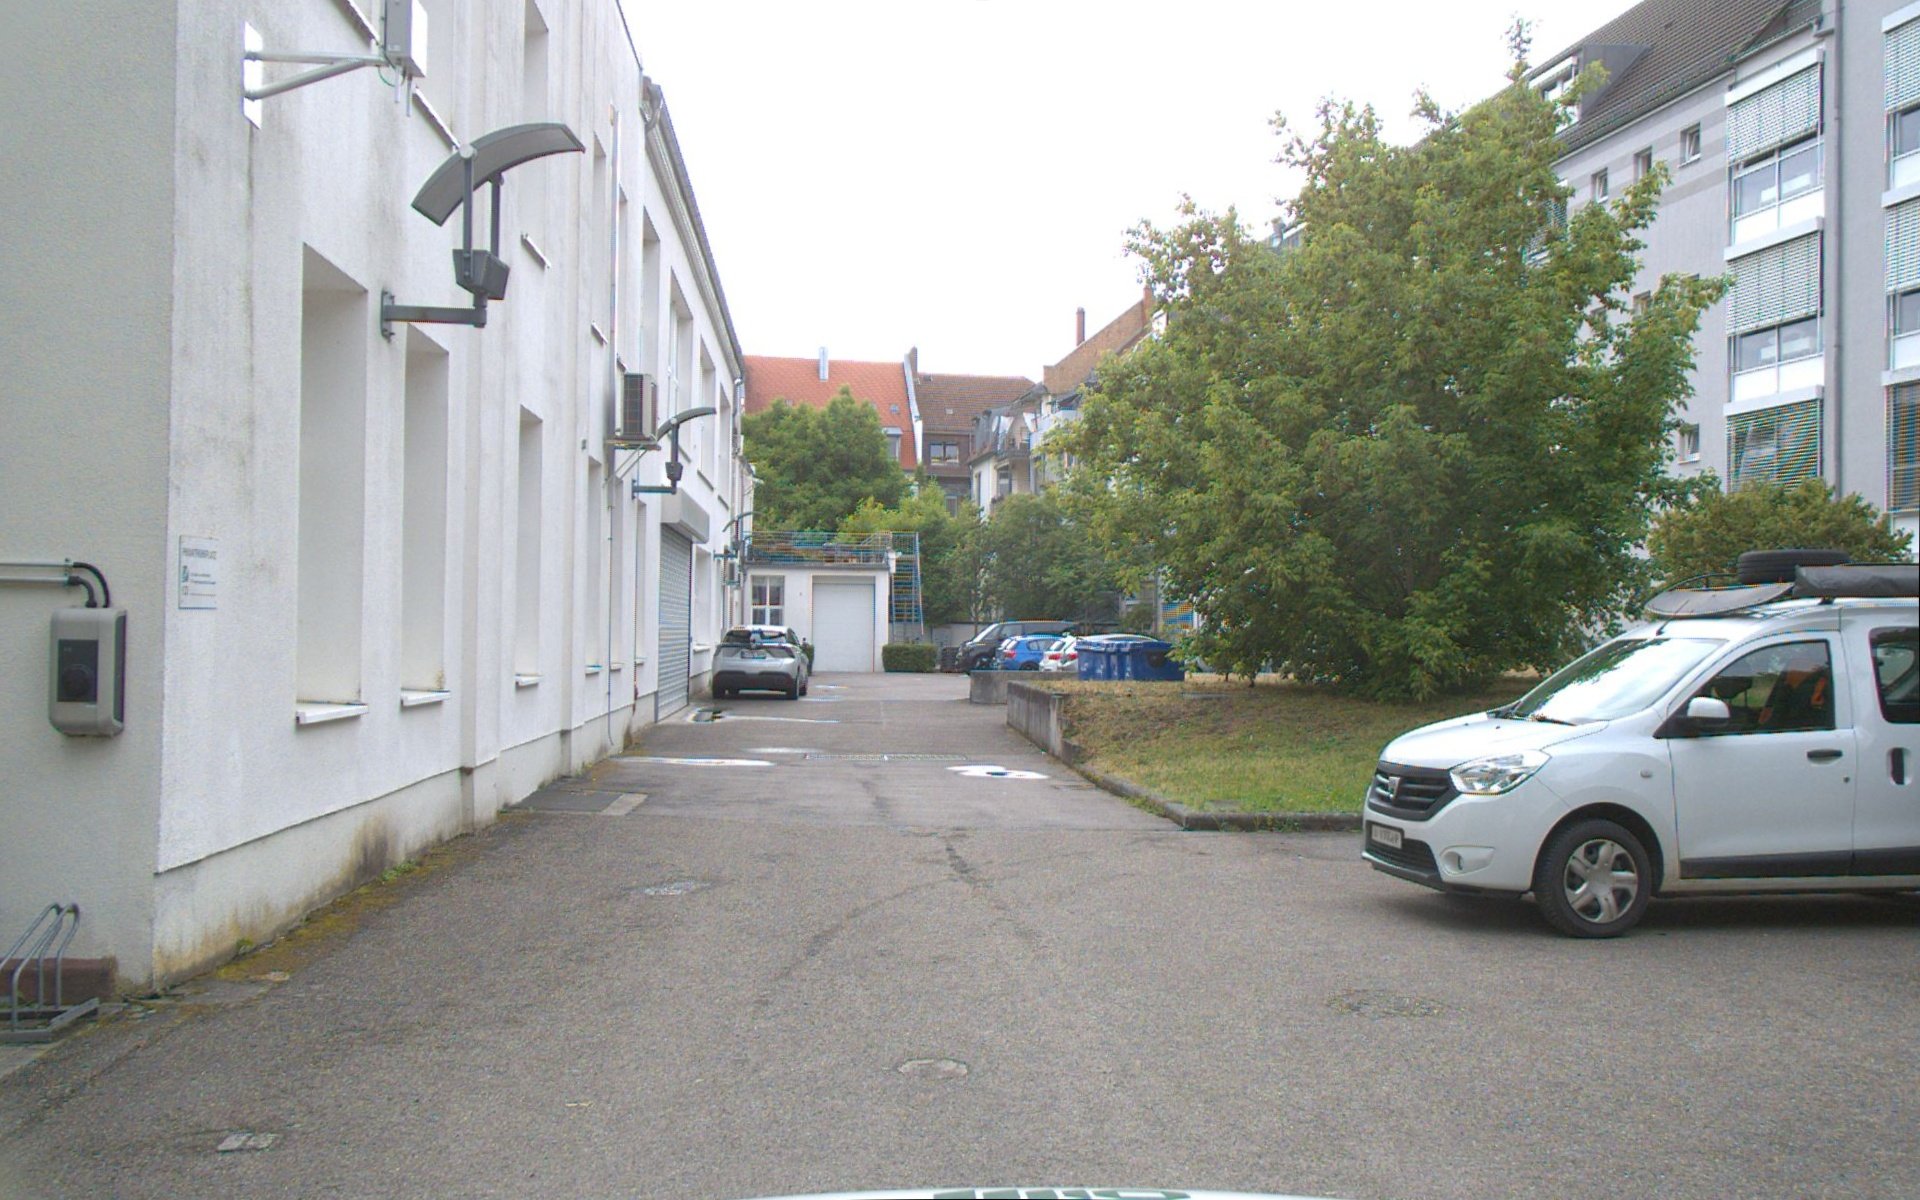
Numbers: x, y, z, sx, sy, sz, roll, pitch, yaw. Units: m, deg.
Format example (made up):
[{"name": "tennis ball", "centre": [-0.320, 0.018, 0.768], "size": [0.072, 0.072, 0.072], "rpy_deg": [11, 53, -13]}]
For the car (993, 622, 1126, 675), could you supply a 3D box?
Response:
[{"name": "car", "centre": [3.155, 1.543, 52.693], "size": [3.922, 1.601, 1.578], "rpy_deg": [1, -1, -16]}]

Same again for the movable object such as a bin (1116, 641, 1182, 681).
[{"name": "movable object such as a bin", "centre": [3.166, 1.021, 27.724], "size": [0.946, 0.648, 0.910], "rpy_deg": [1, -2, -4]}]

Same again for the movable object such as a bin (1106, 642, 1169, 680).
[{"name": "movable object such as a bin", "centre": [3.097, 1.064, 28.969], "size": [0.946, 0.648, 0.910], "rpy_deg": [1, -2, -4]}]

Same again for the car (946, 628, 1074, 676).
[{"name": "car", "centre": [1.740, 1.821, 58.351], "size": [4.114, 1.601, 1.991], "rpy_deg": [1, -1, -16]}]

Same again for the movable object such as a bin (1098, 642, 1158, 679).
[{"name": "movable object such as a bin", "centre": [3.067, 1.106, 30.214], "size": [0.946, 0.648, 0.910], "rpy_deg": [1, -2, -4]}]

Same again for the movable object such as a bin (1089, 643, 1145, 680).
[{"name": "movable object such as a bin", "centre": [2.955, 1.161, 31.206], "size": [0.946, 0.691, 0.810], "rpy_deg": [1, -2, -4]}]

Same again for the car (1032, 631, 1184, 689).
[{"name": "car", "centre": [4.252, 1.731, 47.752], "size": [3.922, 1.601, 1.991], "rpy_deg": [1, -1, -16]}]

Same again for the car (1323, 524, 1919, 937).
[{"name": "car", "centre": [4.454, 0.714, 9.514], "size": [4.258, 2.049, 1.850], "rpy_deg": [1, -2, -10]}]

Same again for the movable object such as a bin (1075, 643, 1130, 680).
[{"name": "movable object such as a bin", "centre": [2.763, 1.190, 32.123], "size": [0.946, 0.691, 0.870], "rpy_deg": [1, -2, -4]}]

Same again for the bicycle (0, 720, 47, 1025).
[{"name": "bicycle", "centre": [-3.601, 0.990, 5.427], "size": [0.387, 1.084, 1.825], "rpy_deg": [1, -1, -7]}]

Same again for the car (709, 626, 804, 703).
[{"name": "car", "centre": [-4.318, 1.373, 35.580], "size": [1.811, 1.534, 3.996], "rpy_deg": [1, -2, -4]}]
